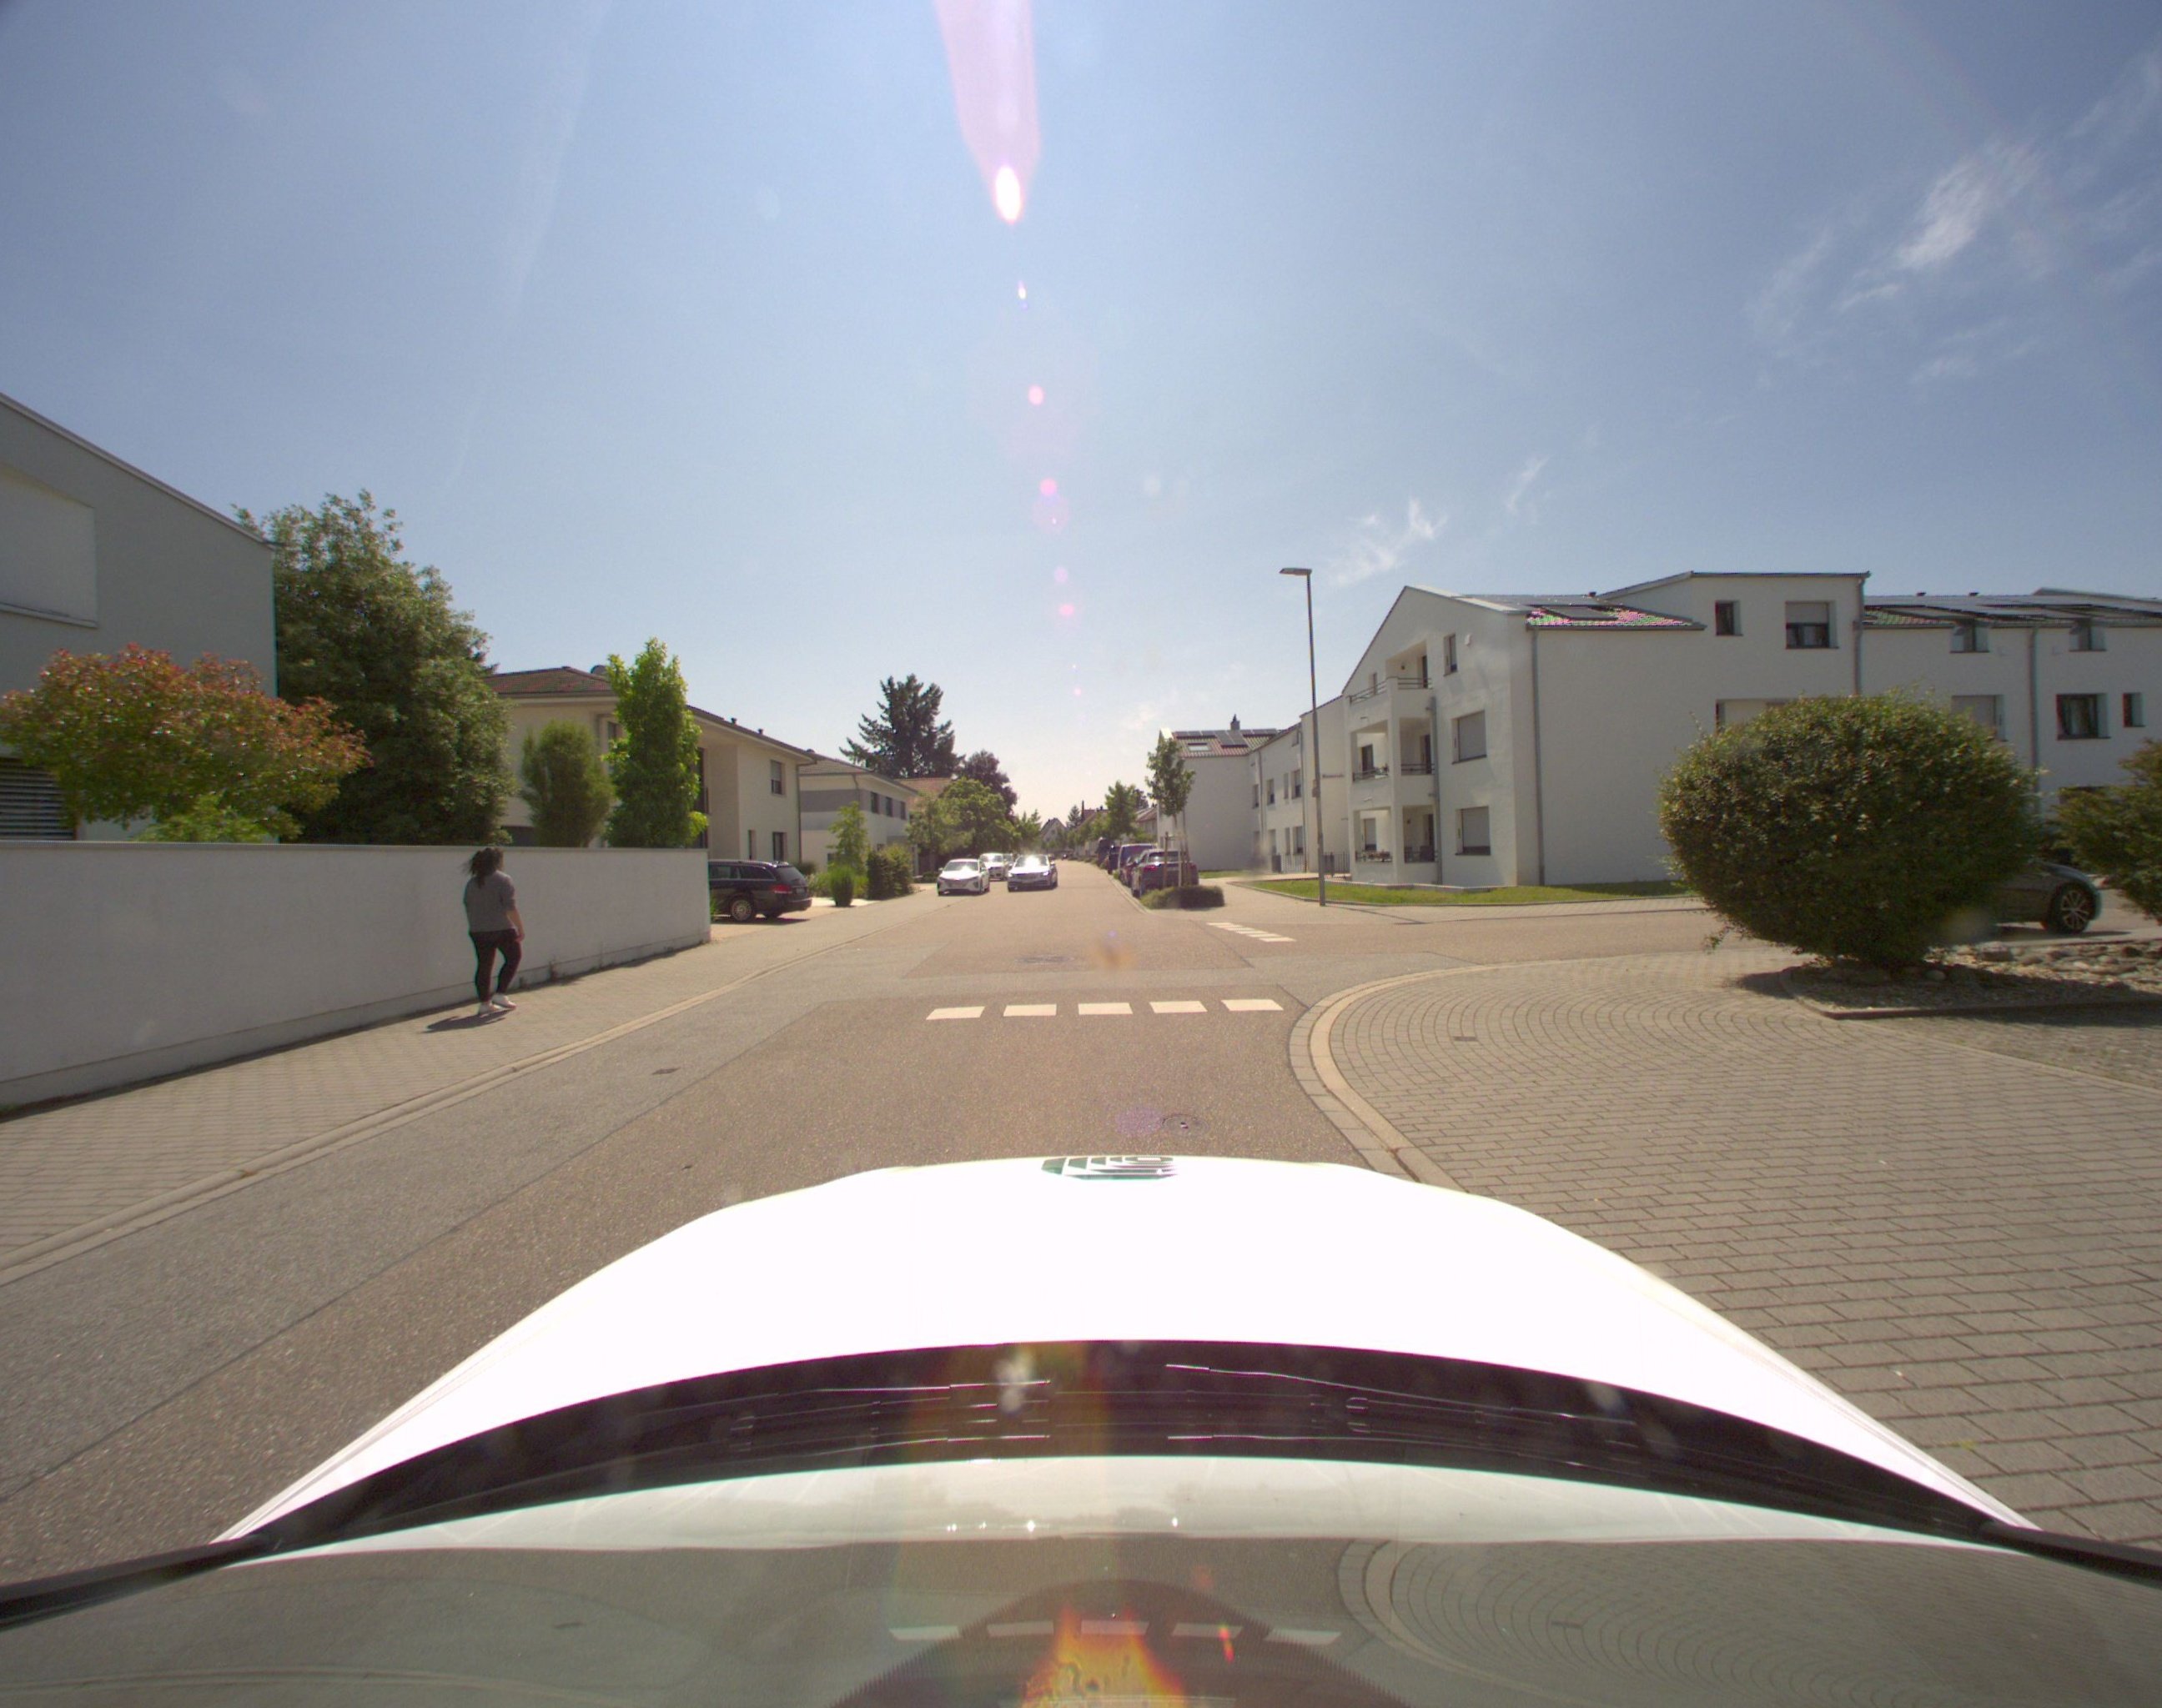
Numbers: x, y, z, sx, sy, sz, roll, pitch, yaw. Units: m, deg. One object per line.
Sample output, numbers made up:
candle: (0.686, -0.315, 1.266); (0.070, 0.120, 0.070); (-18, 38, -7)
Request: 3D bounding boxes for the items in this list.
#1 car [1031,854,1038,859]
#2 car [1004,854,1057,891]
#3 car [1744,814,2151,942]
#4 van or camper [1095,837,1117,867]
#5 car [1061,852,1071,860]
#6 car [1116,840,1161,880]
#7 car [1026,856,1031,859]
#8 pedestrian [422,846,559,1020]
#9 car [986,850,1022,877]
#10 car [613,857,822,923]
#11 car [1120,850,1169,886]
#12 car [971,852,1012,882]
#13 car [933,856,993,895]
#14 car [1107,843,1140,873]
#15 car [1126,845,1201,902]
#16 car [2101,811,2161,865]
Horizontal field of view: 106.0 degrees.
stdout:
car: (-13.575, 0.718, 236.685); (1.661, 1.250, 3.923); (-2, 0, -6)
car: (-2.164, 0.763, 36.017); (1.846, 1.478, 4.702); (-2, 0, 2)
car: (11.728, 0.289, 11.186); (3.986, 1.467, 1.753); (-2, 0, -6)
van or camper: (2.485, -0.182, 82.120); (1.987, 2.941, 3.999); (-1, 0, 0)
car: (-3.208, 0.436, 176.219); (1.987, 1.574, 4.000); (-2, 0, 0)
car: (2.946, 0.301, 42.861); (2.092, 1.882, 4.844); (-2, 0, 1)
car: (-15.931, 1.086, 245.547); (1.188, 1.070, 3.044); (-3, 0, -9)
pedestrian: (-6.319, 0.805, 8.769); (0.712, 1.747, 0.961); (-2, 0, 0)
car: (-5.290, 0.615, 56.171); (1.987, 1.680, 4.214); (-2, 0, 0)
car: (-9.078, 0.875, 20.586); (4.409, 1.473, 1.853); (1, 0, 4)
car: (2.778, 0.596, 36.315); (1.675, 1.441, 4.024); (-2, 0, -2)
car: (-5.408, 0.748, 49.747); (1.921, 1.687, 4.498); (-2, 0, 0)
car: (-4.958, 0.875, 34.806); (1.846, 1.488, 4.385); (-2, 0, 0)
car: (2.925, 0.270, 57.204); (1.987, 1.947, 5.214); (-3, 0, 0)
car: (2.573, 0.567, 26.287); (1.769, 1.595, 4.276); (-4, 0, -2)
car: (29.259, -0.446, 21.120); (1.457, 1.441, 3.208); (-2, 0, -8)
